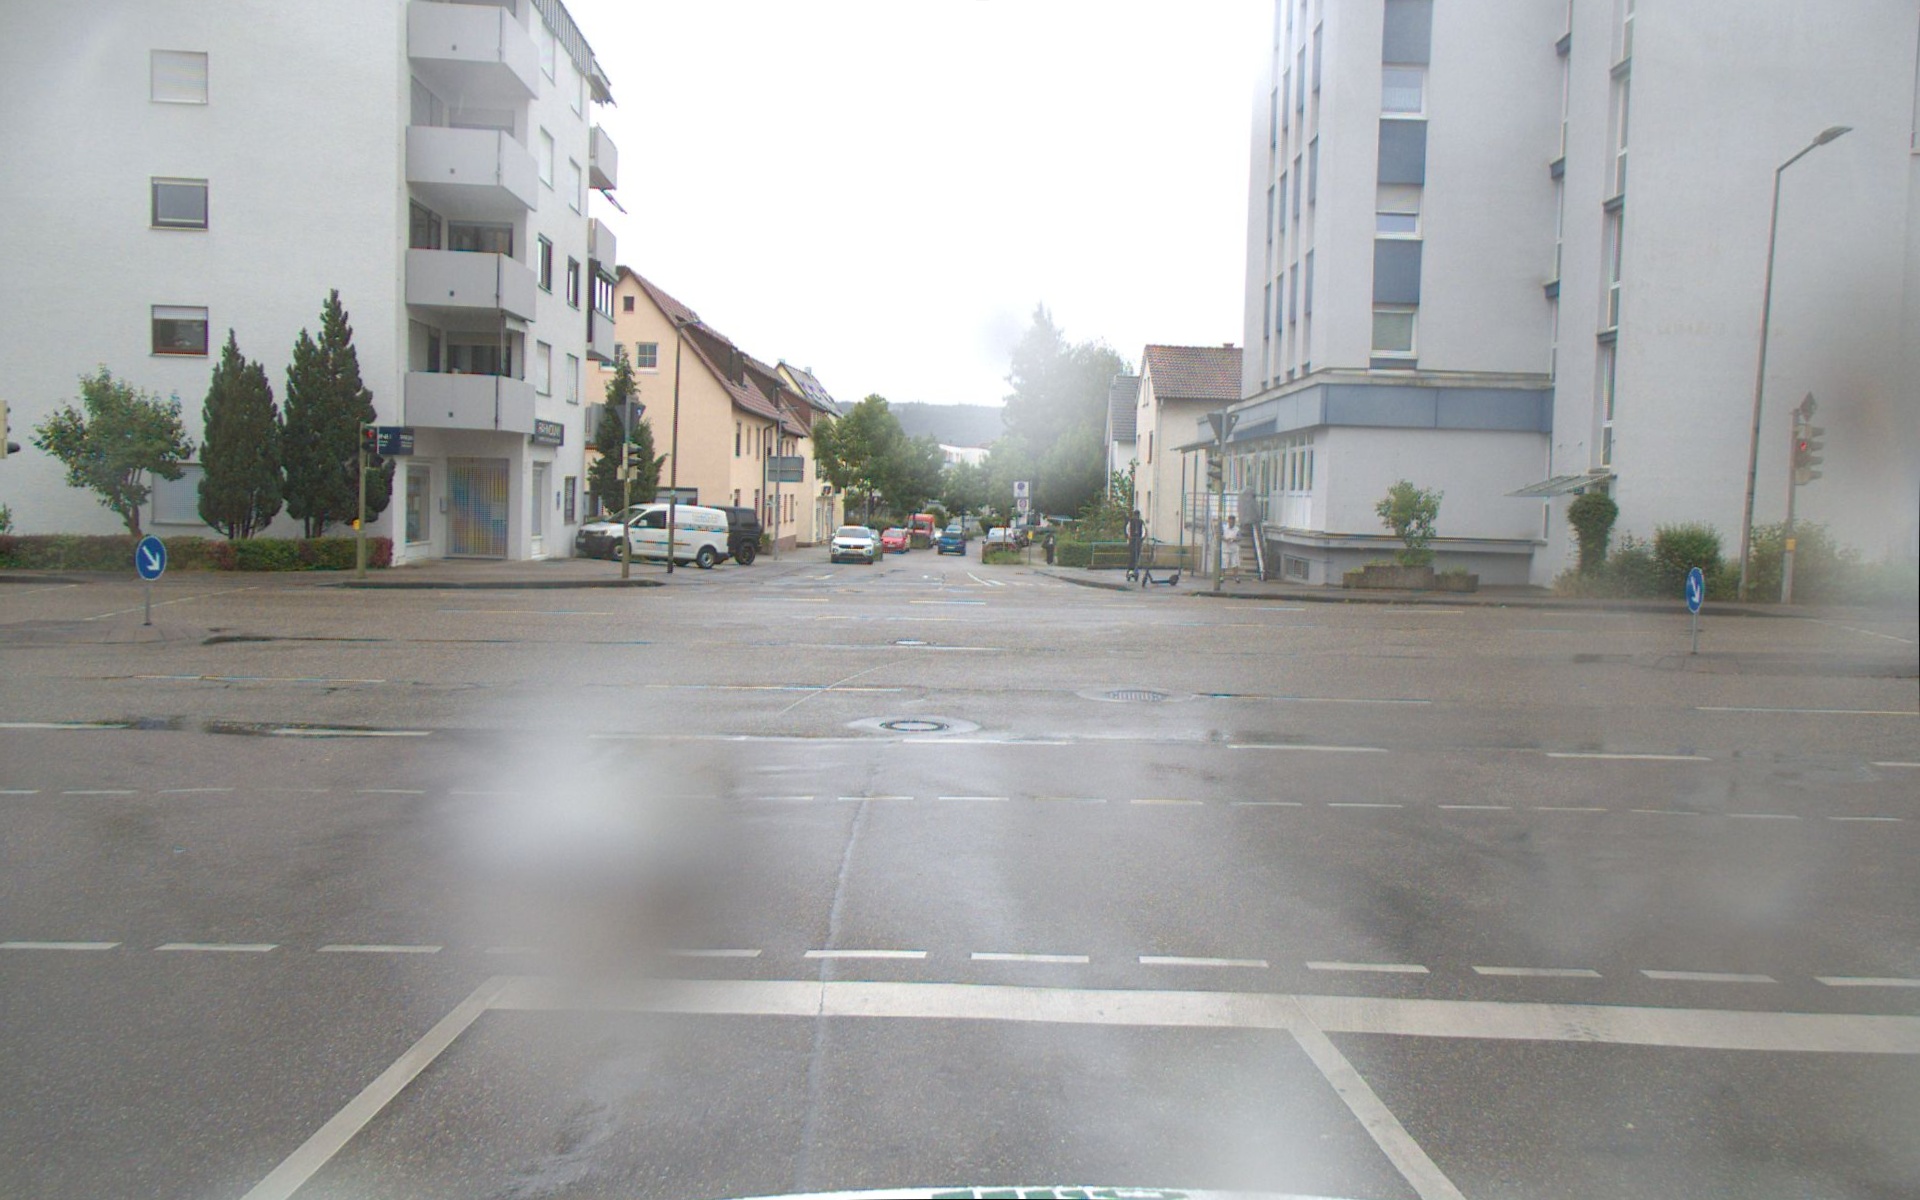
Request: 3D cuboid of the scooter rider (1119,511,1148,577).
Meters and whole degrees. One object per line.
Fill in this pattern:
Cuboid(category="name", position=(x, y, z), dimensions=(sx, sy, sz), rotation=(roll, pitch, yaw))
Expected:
Cuboid(category="scooter rider", position=(4.858, -1.561, 46.250), dimensions=(0.736, 1.827, 0.673), rotation=(0, 2, 1))

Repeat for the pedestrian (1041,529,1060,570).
Cuboid(category="pedestrian", position=(4.277, -2.386, 78.427), dimensions=(0.731, 1.880, 0.526), rotation=(4, 1, -2))

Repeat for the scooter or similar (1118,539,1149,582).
Cuboid(category="scooter or similar", position=(4.844, -1.114, 46.204), dimensions=(0.741, 1.192, 1.315), rotation=(0, 2, 1))

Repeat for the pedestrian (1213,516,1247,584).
Cuboid(category="pedestrian", position=(6.916, -1.276, 42.316), dimensions=(0.635, 1.675, 0.525), rotation=(4, 1, -7))

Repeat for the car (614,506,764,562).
Cuboid(category="car", position=(-9.316, -2.256, 57.011), dimensions=(4.796, 1.867, 1.972), rotation=(-1, 2, -39))

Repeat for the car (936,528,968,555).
Cuboid(category="car", position=(-0.524, -3.778, 106.769), dimensions=(1.953, 1.713, 3.999), rotation=(0, 2, -2))

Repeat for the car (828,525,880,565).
Cuboid(category="car", position=(-4.486, -2.350, 70.452), dimensions=(1.953, 1.654, 4.192), rotation=(0, 2, 0))

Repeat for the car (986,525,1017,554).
Cuboid(category="car", position=(2.654, -3.890, 106.267), dimensions=(1.862, 1.775, 4.192), rotation=(0, 2, 0))

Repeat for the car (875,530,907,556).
Cuboid(category="car", position=(-4.432, -3.676, 106.902), dimensions=(1.862, 1.586, 4.192), rotation=(0, 2, 0))

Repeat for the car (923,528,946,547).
Cuboid(category="car", position=(-2.181, -5.289, 141.152), dimensions=(1.862, 1.586, 4.192), rotation=(0, 2, 0))

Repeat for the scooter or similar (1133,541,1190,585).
Cuboid(category="scooter or similar", position=(5.012, -0.928, 41.237), dimensions=(1.243, 1.100, 0.876), rotation=(0, 2, -5))

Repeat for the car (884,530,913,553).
Cuboid(category="car", position=(-4.275, -4.085, 115.308), dimensions=(1.862, 1.586, 4.192), rotation=(0, 2, 0))

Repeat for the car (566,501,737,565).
Cuboid(category="car", position=(-9.296, -2.002, 50.042), dimensions=(4.796, 1.867, 1.972), rotation=(-1, 2, -39))

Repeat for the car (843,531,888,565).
Cuboid(category="car", position=(-4.634, -2.571, 81.854), dimensions=(1.953, 1.654, 4.192), rotation=(0, 2, 0))

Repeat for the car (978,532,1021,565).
Cuboid(category="car", position=(1.960, -2.614, 84.212), dimensions=(2.102, 1.616, 4.129), rotation=(0, 2, 0))

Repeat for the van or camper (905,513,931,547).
Cuboid(category="van or camper", position=(-3.247, -5.450, 128.941), dimensions=(1.862, 2.557, 4.239), rotation=(0, 2, 0))
